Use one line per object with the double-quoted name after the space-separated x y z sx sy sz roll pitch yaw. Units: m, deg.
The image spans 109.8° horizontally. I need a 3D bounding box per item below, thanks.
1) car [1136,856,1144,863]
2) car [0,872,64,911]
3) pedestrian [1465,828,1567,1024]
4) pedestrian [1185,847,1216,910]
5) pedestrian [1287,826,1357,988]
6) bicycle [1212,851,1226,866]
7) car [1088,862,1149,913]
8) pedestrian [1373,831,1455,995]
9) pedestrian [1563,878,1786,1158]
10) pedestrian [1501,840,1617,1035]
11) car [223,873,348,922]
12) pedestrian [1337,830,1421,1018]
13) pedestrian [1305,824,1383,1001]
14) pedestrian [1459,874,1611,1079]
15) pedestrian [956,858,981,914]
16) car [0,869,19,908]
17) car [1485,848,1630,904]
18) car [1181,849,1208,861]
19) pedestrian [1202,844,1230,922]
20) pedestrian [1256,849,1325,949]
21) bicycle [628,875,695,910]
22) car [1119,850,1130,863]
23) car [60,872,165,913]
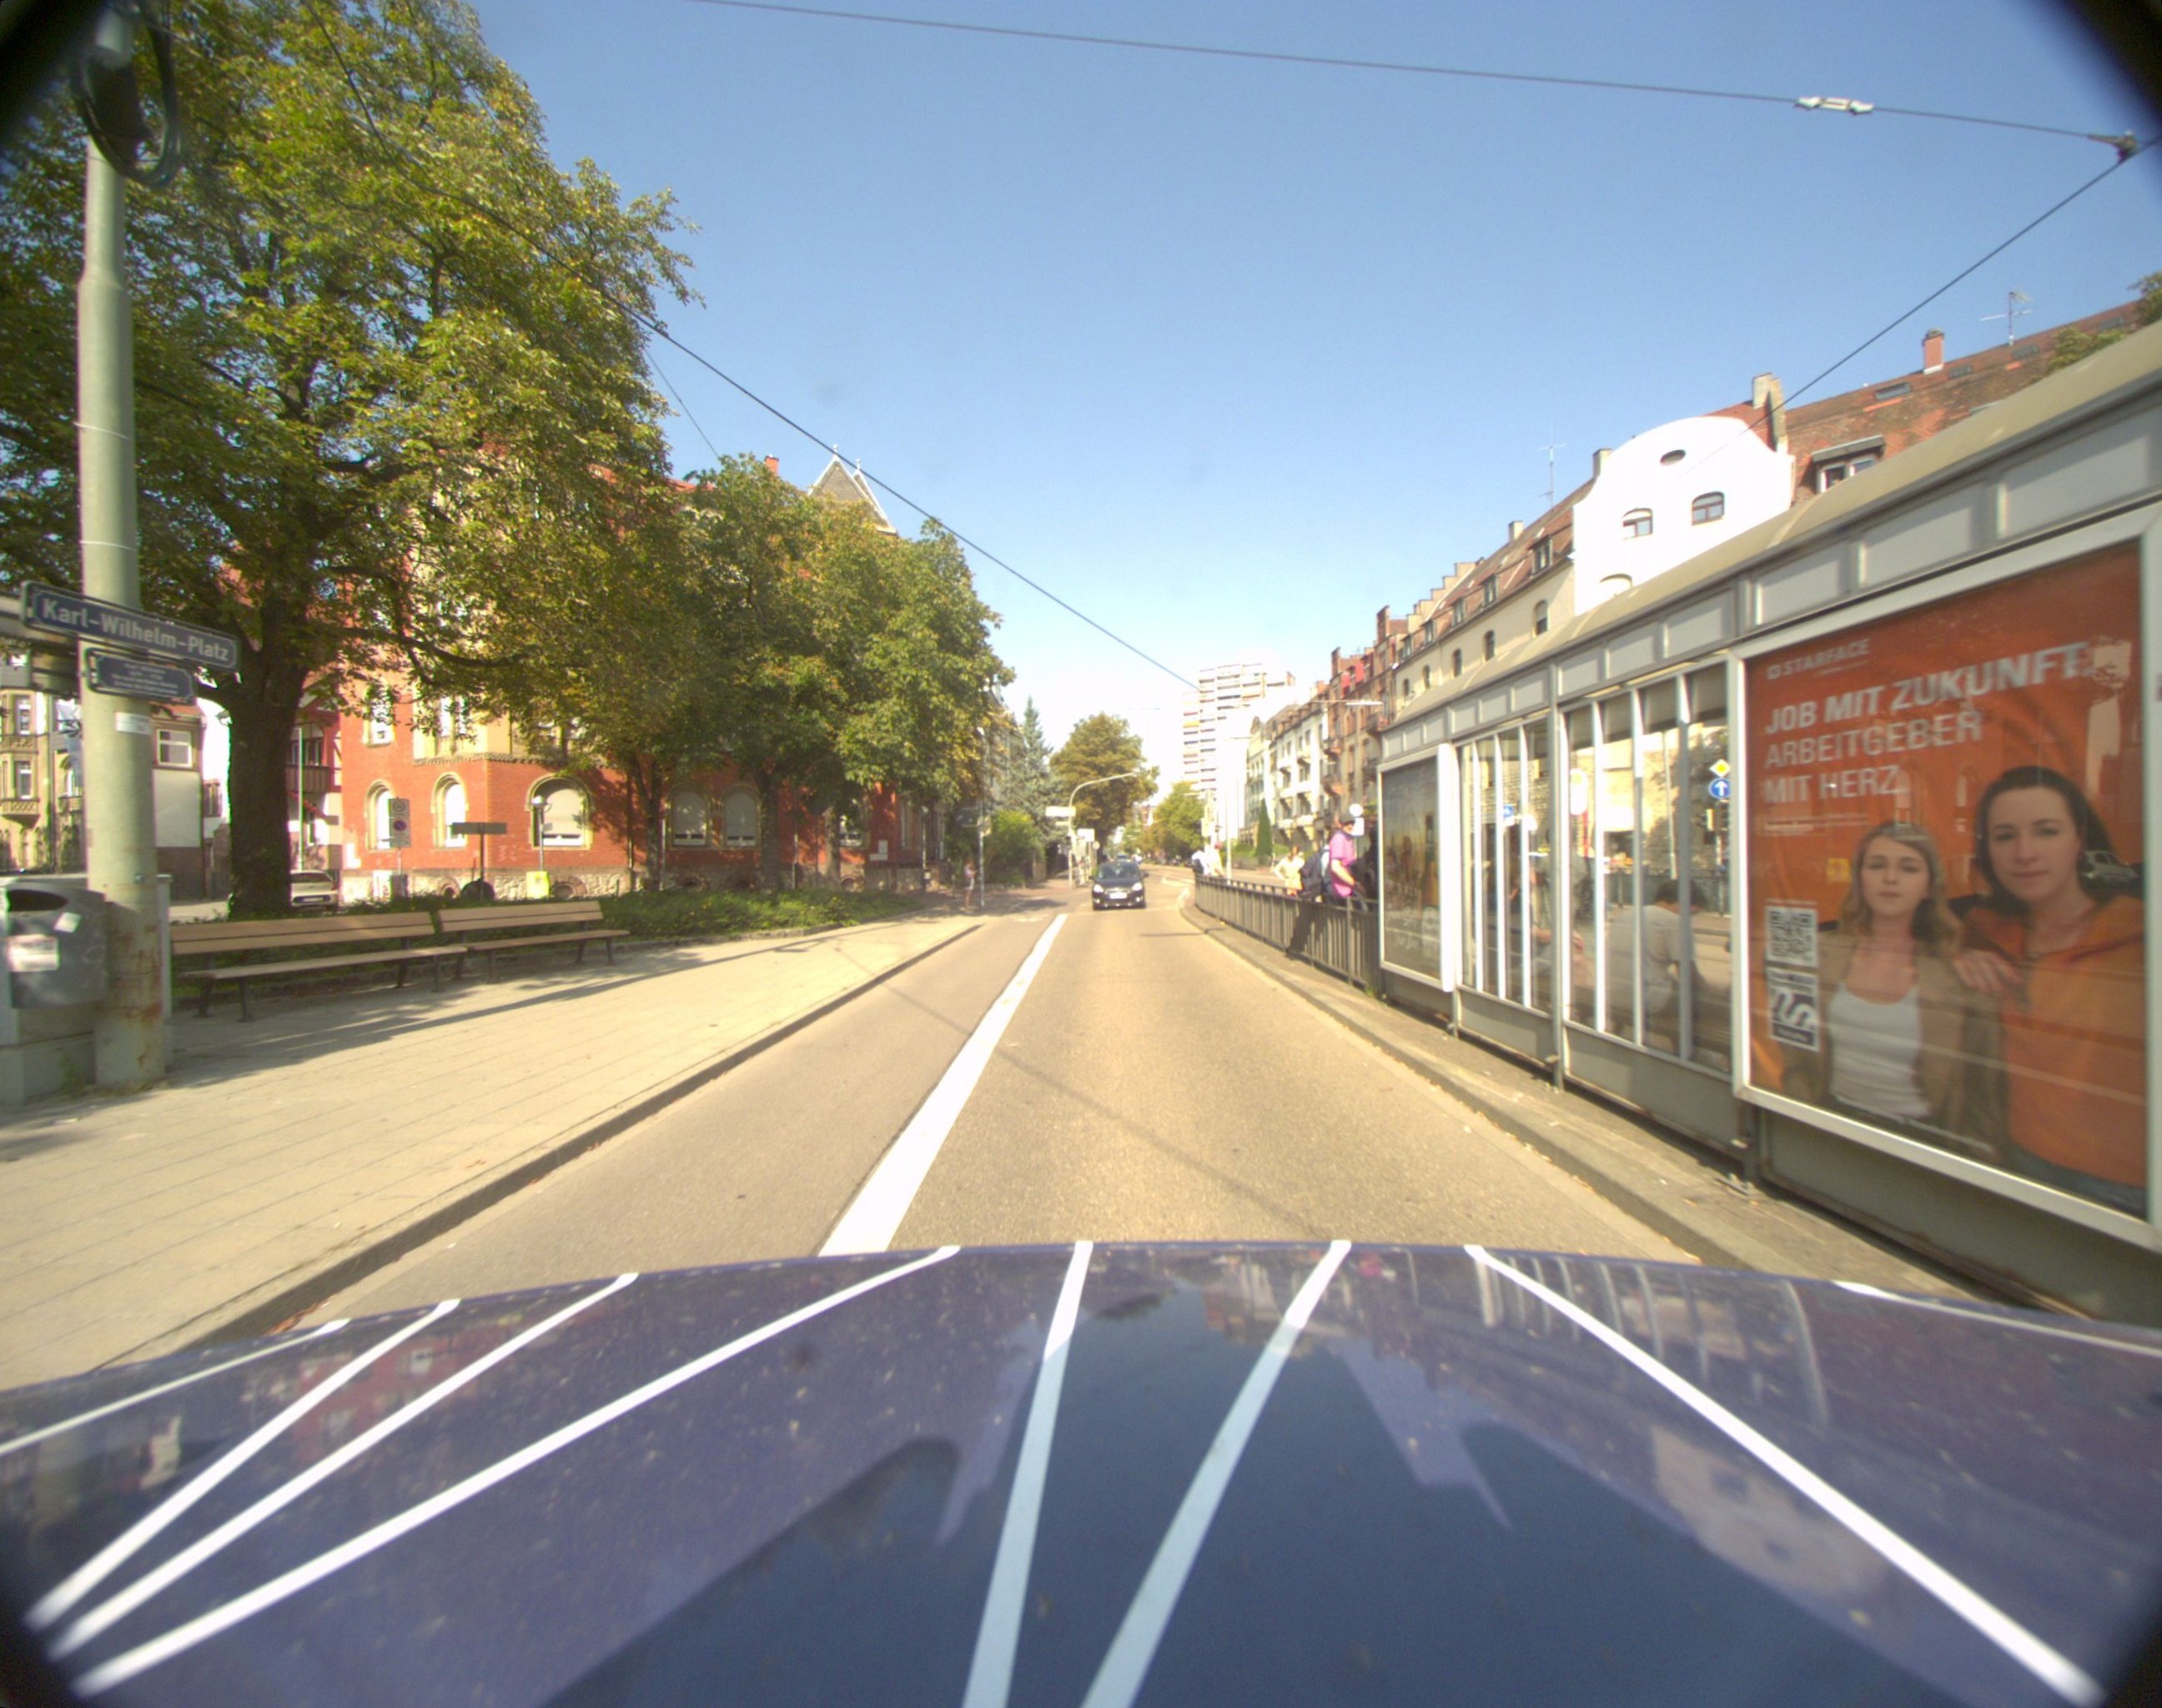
14.648 1.419 188.490 1.997 1.639 4.002 -1 0 6 "car"
-49.236 1.697 35.183 3.990 1.691 1.625 -1 0 23 "car"
3.957 0.632 6.946 0.590 1.711 0.607 -1 0 3 "pedestrian"
3.451 0.706 21.988 0.730 1.759 0.739 -3 -2 4 "pedestrian"
2.827 0.603 8.958 0.638 1.837 0.634 -1 0 3 "pedestrian"
18.615 0.597 102.617 1.015 1.847 3.554 -3 0 -5 "bicycle"
1.302 1.039 24.903 1.774 1.459 4.002 -2 0 5 "car"
3.648 0.626 8.359 0.638 1.737 0.634 -1 0 3 "pedestrian"
3.155 0.829 4.096 0.709 1.370 0.622 -1 0 1 "pedestrian"
3.949 0.666 6.317 0.590 1.535 0.607 -1 0 3 "pedestrian"
-27.449 1.468 26.230 3.990 1.558 1.625 -1 0 23 "car"
2.893 0.661 7.429 0.590 1.753 0.607 -1 0 3 "pedestrian"
2.833 0.610 8.228 0.638 1.837 0.634 -1 0 3 "pedestrian"
3.142 0.818 5.311 0.688 1.332 0.622 -1 0 1 "pedestrian"
-3.489 0.986 23.615 0.543 1.708 0.662 -1 0 16 "pedestrian"
-54.011 1.698 37.078 3.990 1.911 1.625 -1 0 23 "car"
15.119 0.650 24.441 1.998 1.641 4.483 -1 0 3 "car"
18.733 0.201 125.165 4.005 2.002 1.996 -1 0 -25 "car"
3.157 0.673 17.827 0.560 1.792 0.676 -1 0 4 "pedestrian"
3.577 0.747 13.049 0.815 1.645 0.866 -1 0 -13 "pedestrian"
-14.195 1.309 25.748 0.607 1.052 1.843 -4 -1 43 "bicycle"
8.248 0.499 143.853 2.087 2.264 4.828 -1 0 3 "car"
-39.671 1.553 31.113 3.990 1.558 1.625 -1 0 23 "car"
